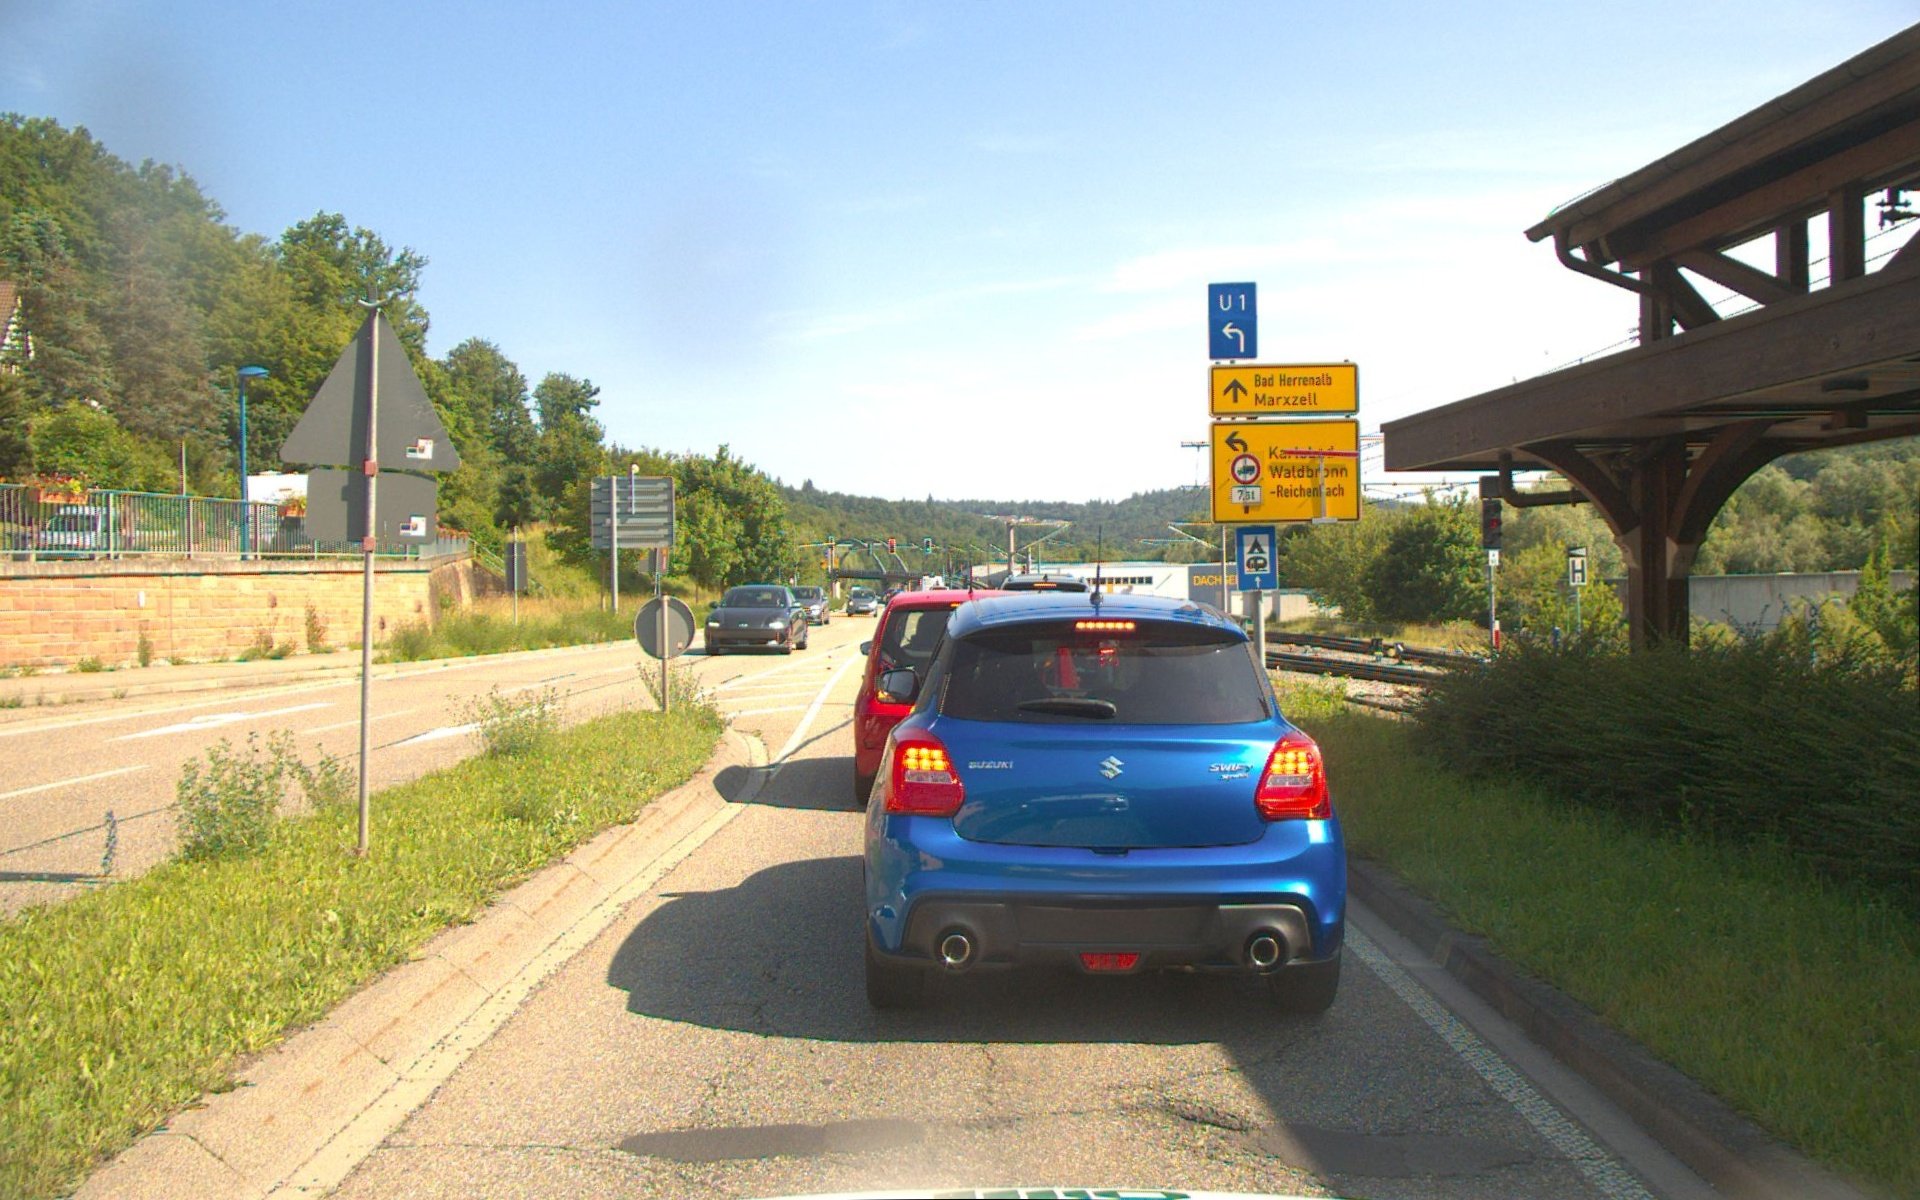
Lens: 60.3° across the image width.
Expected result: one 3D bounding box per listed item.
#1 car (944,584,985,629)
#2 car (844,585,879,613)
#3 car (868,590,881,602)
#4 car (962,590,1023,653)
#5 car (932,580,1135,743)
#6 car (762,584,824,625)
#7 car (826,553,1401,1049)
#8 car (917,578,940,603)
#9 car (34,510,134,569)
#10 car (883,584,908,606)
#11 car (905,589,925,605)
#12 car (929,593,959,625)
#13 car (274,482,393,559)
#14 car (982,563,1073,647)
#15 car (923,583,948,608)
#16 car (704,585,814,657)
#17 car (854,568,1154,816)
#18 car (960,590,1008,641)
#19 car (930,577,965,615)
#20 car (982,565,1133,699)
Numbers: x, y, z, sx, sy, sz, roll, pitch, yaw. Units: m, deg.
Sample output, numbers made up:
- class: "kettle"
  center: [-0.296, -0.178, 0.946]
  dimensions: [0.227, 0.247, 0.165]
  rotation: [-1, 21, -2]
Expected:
- class: "car"
  center: [0.214, 0.297, 83.559]
  dimensions: [1.953, 2.048, 4.000]
  rotation: [2, 1, -1]
- class: "car"
  center: [-5.364, -0.041, 90.264]
  dimensions: [1.637, 1.466, 3.840]
  rotation: [1, 0, 1]
- class: "car"
  center: [-13.446, -0.643, 260.763]
  dimensions: [1.953, 1.693, 3.999]
  rotation: [2, 0, -2]
- class: "car"
  center: [1.119, 0.726, 58.738]
  dimensions: [1.953, 2.048, 4.000]
  rotation: [2, 1, -1]
- class: "car"
  center: [0.742, 0.572, 18.239]
  dimensions: [1.952, 1.558, 4.602]
  rotation: [0, 0, 1]
- class: "car"
  center: [-6.690, 0.161, 66.729]
  dimensions: [1.952, 1.591, 4.510]
  rotation: [1, 1, 1]
- class: "car"
  center: [0.449, 0.633, 7.297]
  dimensions: [1.830, 1.575, 3.999]
  rotation: [1, 0, -1]
- class: "car"
  center: [-2.814, -0.822, 147.767]
  dimensions: [1.953, 2.181, 4.719]
  rotation: [1, 0, -1]
- class: "car"
  center: [-26.185, -1.765, 49.569]
  dimensions: [1.864, 1.658, 3.982]
  rotation: [0, 1, -16]
- class: "car"
  center: [-5.460, -0.446, 140.284]
  dimensions: [1.953, 1.814, 3.999]
  rotation: [1, 0, -1]
- class: "car"
  center: [-4.687, -0.350, 171.605]
  dimensions: [1.953, 1.581, 4.214]
  rotation: [2, 0, -1]
- class: "car"
  center: [-1.119, 0.586, 114.418]
  dimensions: [1.953, 2.048, 4.000]
  rotation: [2, 1, -1]
- class: "car"
  center: [-17.214, -2.154, 45.688]
  dimensions: [1.982, 1.953, 4.724]
  rotation: [2, 1, -7]
- class: "car"
  center: [1.507, 0.088, 38.282]
  dimensions: [1.952, 1.766, 4.001]
  rotation: [2, 1, 1]
- class: "car"
  center: [-1.979, -0.377, 132.800]
  dimensions: [1.953, 1.848, 4.000]
  rotation: [2, 1, -1]
- class: "car"
  center: [-4.458, 0.425, 37.346]
  dimensions: [1.754, 1.496, 4.717]
  rotation: [1, 0, 2]
- class: "car"
  center: [0.320, 0.607, 12.965]
  dimensions: [1.952, 1.598, 4.000]
  rotation: [1, 0, 1]
- class: "car"
  center: [1.023, 0.640, 72.952]
  dimensions: [1.953, 2.048, 4.000]
  rotation: [2, 1, -1]
- class: "car"
  center: [-0.731, -0.239, 96.888]
  dimensions: [1.953, 2.048, 4.000]
  rotation: [2, 1, -1]
- class: "car"
  center: [1.338, 0.408, 24.331]
  dimensions: [1.952, 1.716, 4.497]
  rotation: [2, 1, 1]
